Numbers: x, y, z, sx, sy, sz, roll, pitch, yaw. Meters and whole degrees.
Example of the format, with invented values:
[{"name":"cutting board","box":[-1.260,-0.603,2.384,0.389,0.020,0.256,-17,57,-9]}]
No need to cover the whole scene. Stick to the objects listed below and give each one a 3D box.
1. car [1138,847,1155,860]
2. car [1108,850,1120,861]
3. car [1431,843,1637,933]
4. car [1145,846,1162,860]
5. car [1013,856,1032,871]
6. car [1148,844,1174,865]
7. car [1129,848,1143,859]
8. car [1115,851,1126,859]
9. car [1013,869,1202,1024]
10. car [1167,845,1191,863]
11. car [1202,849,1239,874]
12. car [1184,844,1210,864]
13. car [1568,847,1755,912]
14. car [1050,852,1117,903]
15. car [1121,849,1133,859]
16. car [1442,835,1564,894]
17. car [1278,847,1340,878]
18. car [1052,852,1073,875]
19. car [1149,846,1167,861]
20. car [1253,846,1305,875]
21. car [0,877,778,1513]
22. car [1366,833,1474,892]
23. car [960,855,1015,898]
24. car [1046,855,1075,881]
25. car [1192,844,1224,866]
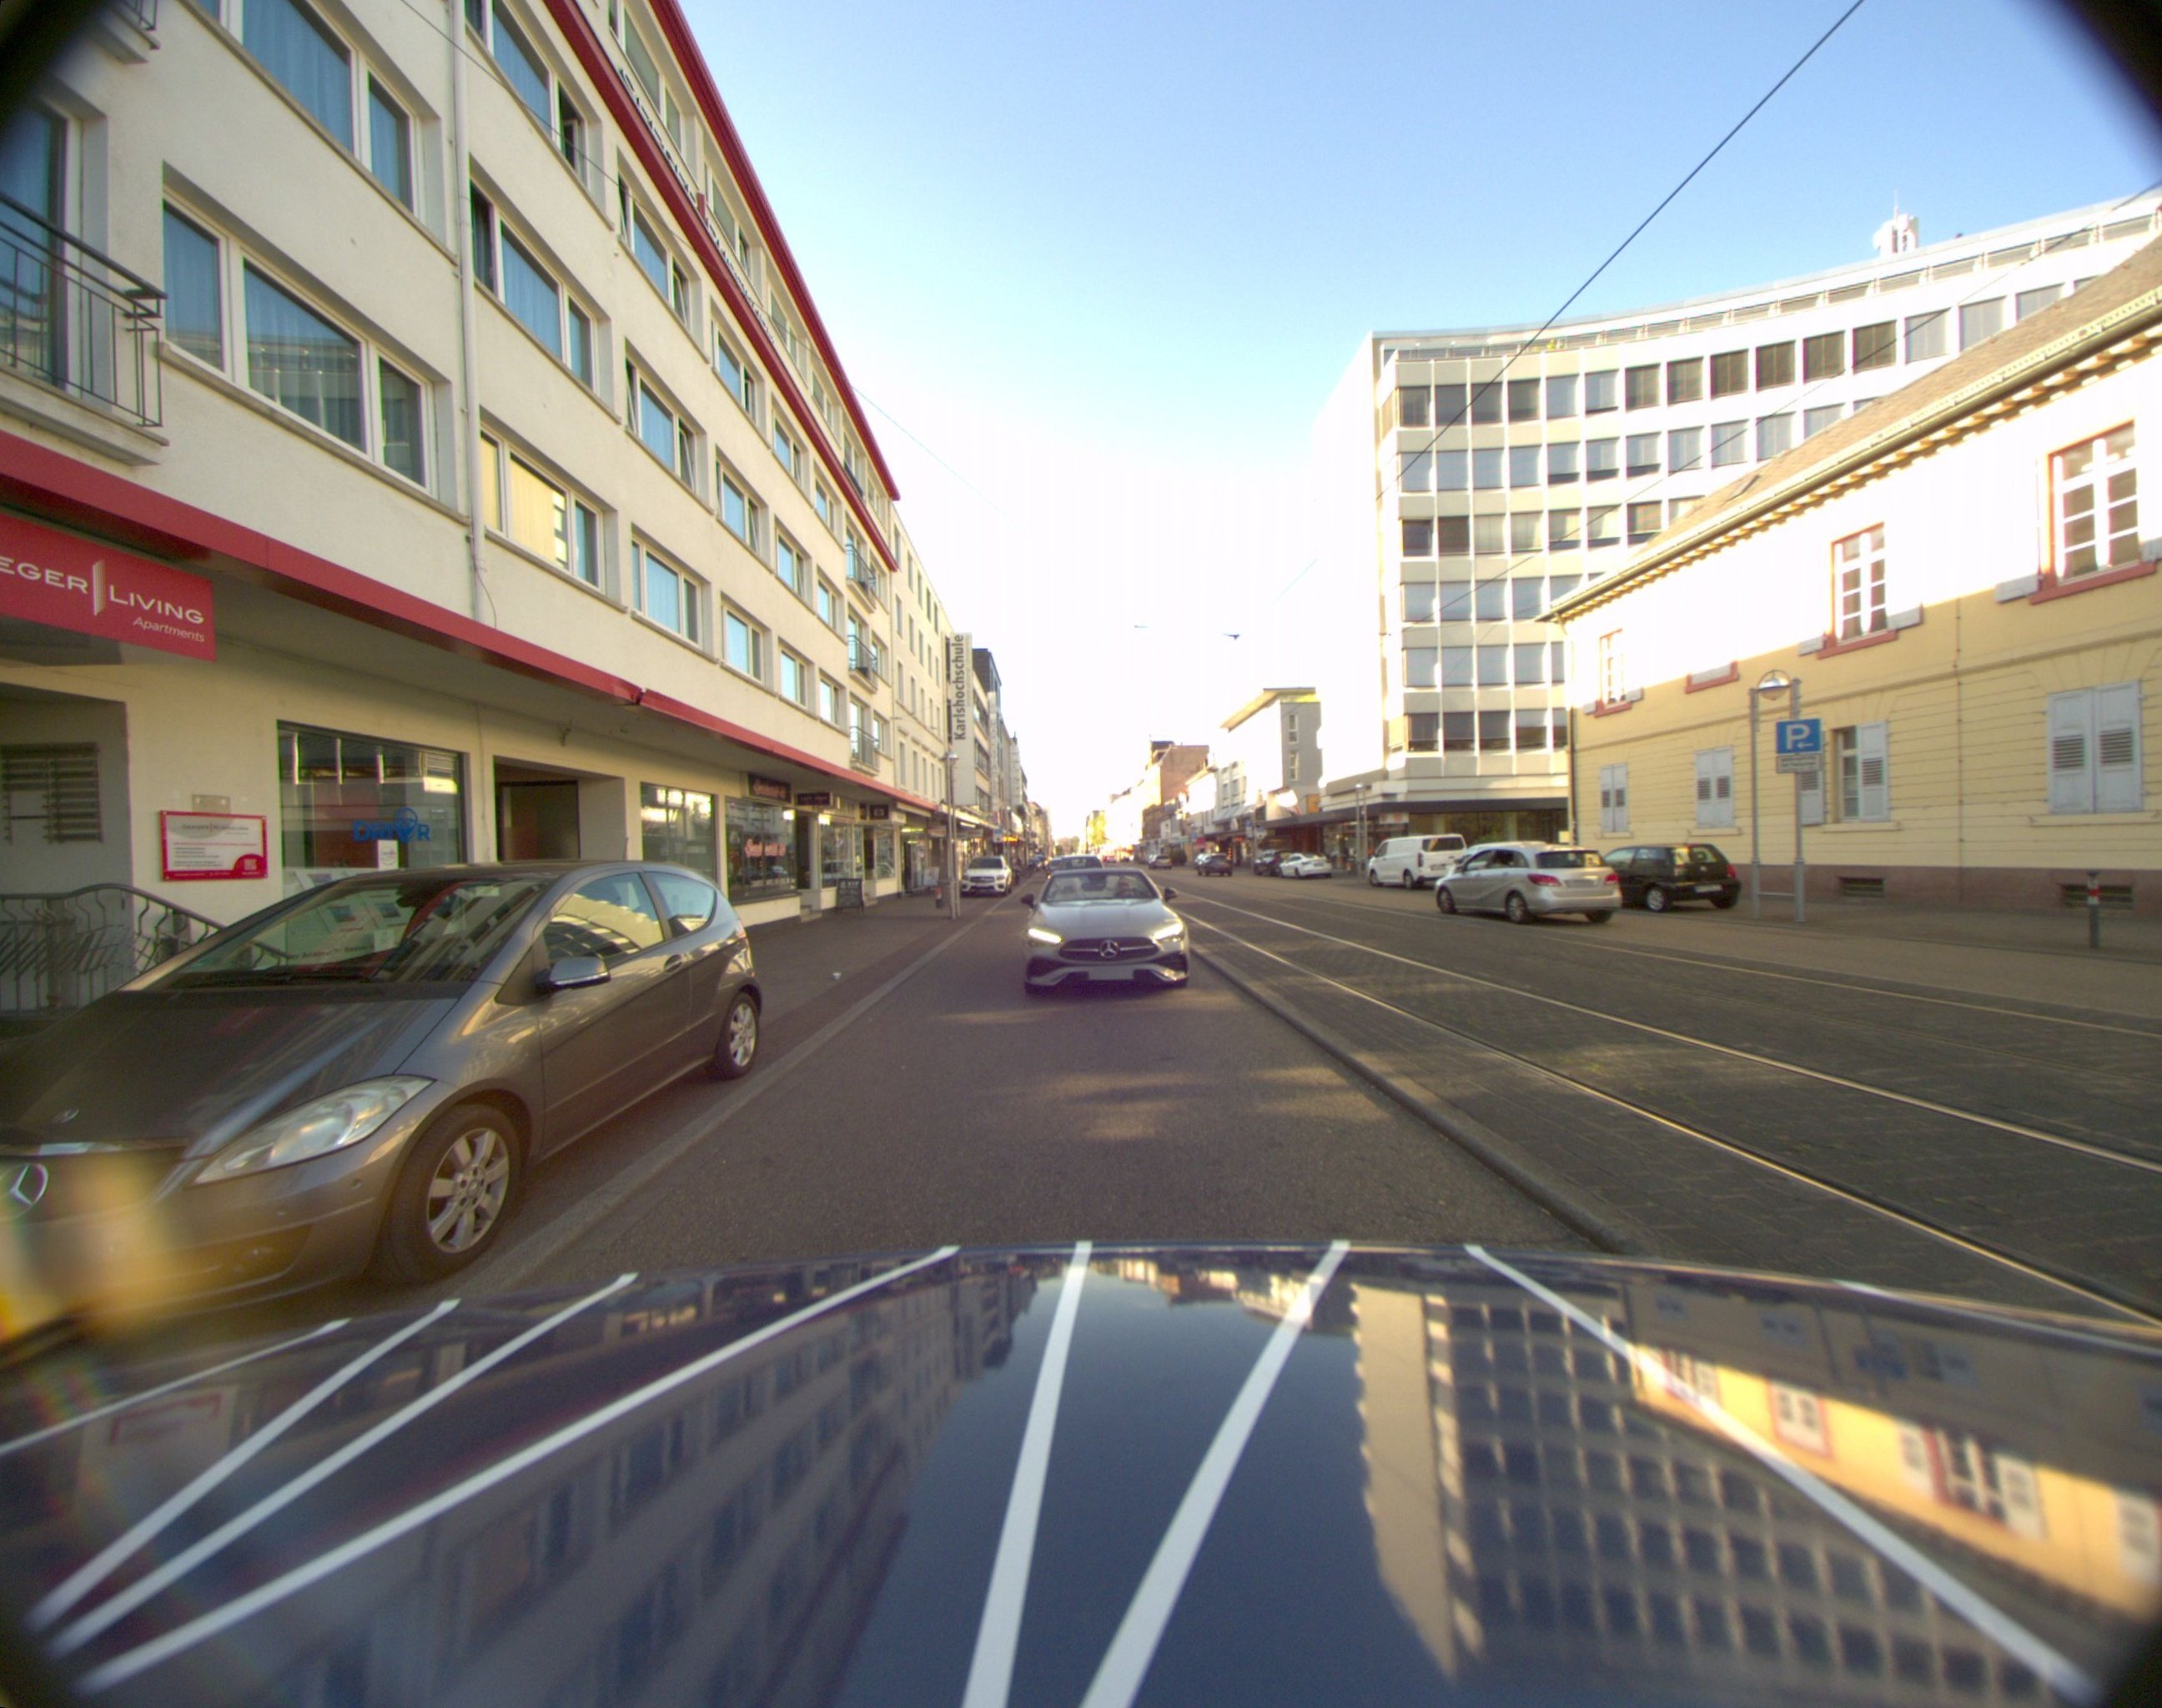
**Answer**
[{"name":"car","box":[10.550,-0.023,122.338,1.999,2.002,5.320,-1,0,-2]},{"name":"car","box":[6.617,0.216,150.687,1.999,2.002,3.998,-2,1,-2]},{"name":"car","box":[9.161,0.615,15.813,1.760,1.587,3.999,-1,0,-2]},{"name":"car","box":[10.890,-0.144,114.984,1.999,2.002,3.998,-2,1,-2]},{"name":"car","box":[-6.222,0.962,80.797,1.714,1.430,3.756,-2,1,-1]},{"name":"car","box":[7.933,0.024,75.767,1.914,1.883,3.855,-2,1,-2]},{"name":"car","box":[9.913,-0.051,137.443,1.999,2.002,3.999,-1,0,-2]},{"name":"car","box":[9.085,0.172,176.651,2.148,1.850,3.998,-2,1,-2]},{"name":"car","box":[0.130,0.976,9.718,1.884,1.375,3.998,-2,1,-4]},{"name":"car","box":[11.630,0.012,90.411,2.200,2.030,3.999,-1,0,-1]},{"name":"car","box":[9.243,0.499,50.595,1.964,1.499,4.000,-2,1,4]},{"name":"car","box":[11.332,-0.036,74.353,1.789,1.870,3.999,-1,0,-2]},{"name":"car","box":[12.891,0.503,17.126,1.688,1.246,3.212,-2,1,-1]},{"name":"car","box":[0.010,0.737,26.072,1.927,1.533,3.998,-2,0,-4]},{"name":"car","box":[9.559,-0.098,157.315,1.999,2.002,3.999,-1,0,-2]},{"name":"car","box":[12.806,0.267,23.355,1.641,1.600,4.005,-2,1,3]},{"name":"car","box":[12.589,0.425,42.259,1.999,1.521,4.373,-2,1,-1]},{"name":"car","box":[-1.507,0.758,61.409,1.573,1.670,3.688,-2,1,-1]},{"name":"car","box":[11.062,-0.065,109.901,1.999,2.002,3.998,-2,1,-2]},{"name":"car","box":[12.335,0.365,47.689,1.999,1.694,4.107,-3,1,-2]},{"name":"car","box":[-3.215,0.973,3.969,1.683,1.537,3.999,-2,0,-1]},{"name":"car","box":[12.687,0.305,28.794,2.040,2.002,4.621,-1,0,1]},{"name":"car","box":[-3.842,0.892,31.725,1.999,1.620,3.998,-1,0,-4]},{"name":"car","box":[-1.283,0.867,47.568,1.648,1.506,3.844,-2,0,-2]},{"name":"car","box":[11.264,0.086,67.817,1.999,1.849,3.998,-2,1,-2]}]
